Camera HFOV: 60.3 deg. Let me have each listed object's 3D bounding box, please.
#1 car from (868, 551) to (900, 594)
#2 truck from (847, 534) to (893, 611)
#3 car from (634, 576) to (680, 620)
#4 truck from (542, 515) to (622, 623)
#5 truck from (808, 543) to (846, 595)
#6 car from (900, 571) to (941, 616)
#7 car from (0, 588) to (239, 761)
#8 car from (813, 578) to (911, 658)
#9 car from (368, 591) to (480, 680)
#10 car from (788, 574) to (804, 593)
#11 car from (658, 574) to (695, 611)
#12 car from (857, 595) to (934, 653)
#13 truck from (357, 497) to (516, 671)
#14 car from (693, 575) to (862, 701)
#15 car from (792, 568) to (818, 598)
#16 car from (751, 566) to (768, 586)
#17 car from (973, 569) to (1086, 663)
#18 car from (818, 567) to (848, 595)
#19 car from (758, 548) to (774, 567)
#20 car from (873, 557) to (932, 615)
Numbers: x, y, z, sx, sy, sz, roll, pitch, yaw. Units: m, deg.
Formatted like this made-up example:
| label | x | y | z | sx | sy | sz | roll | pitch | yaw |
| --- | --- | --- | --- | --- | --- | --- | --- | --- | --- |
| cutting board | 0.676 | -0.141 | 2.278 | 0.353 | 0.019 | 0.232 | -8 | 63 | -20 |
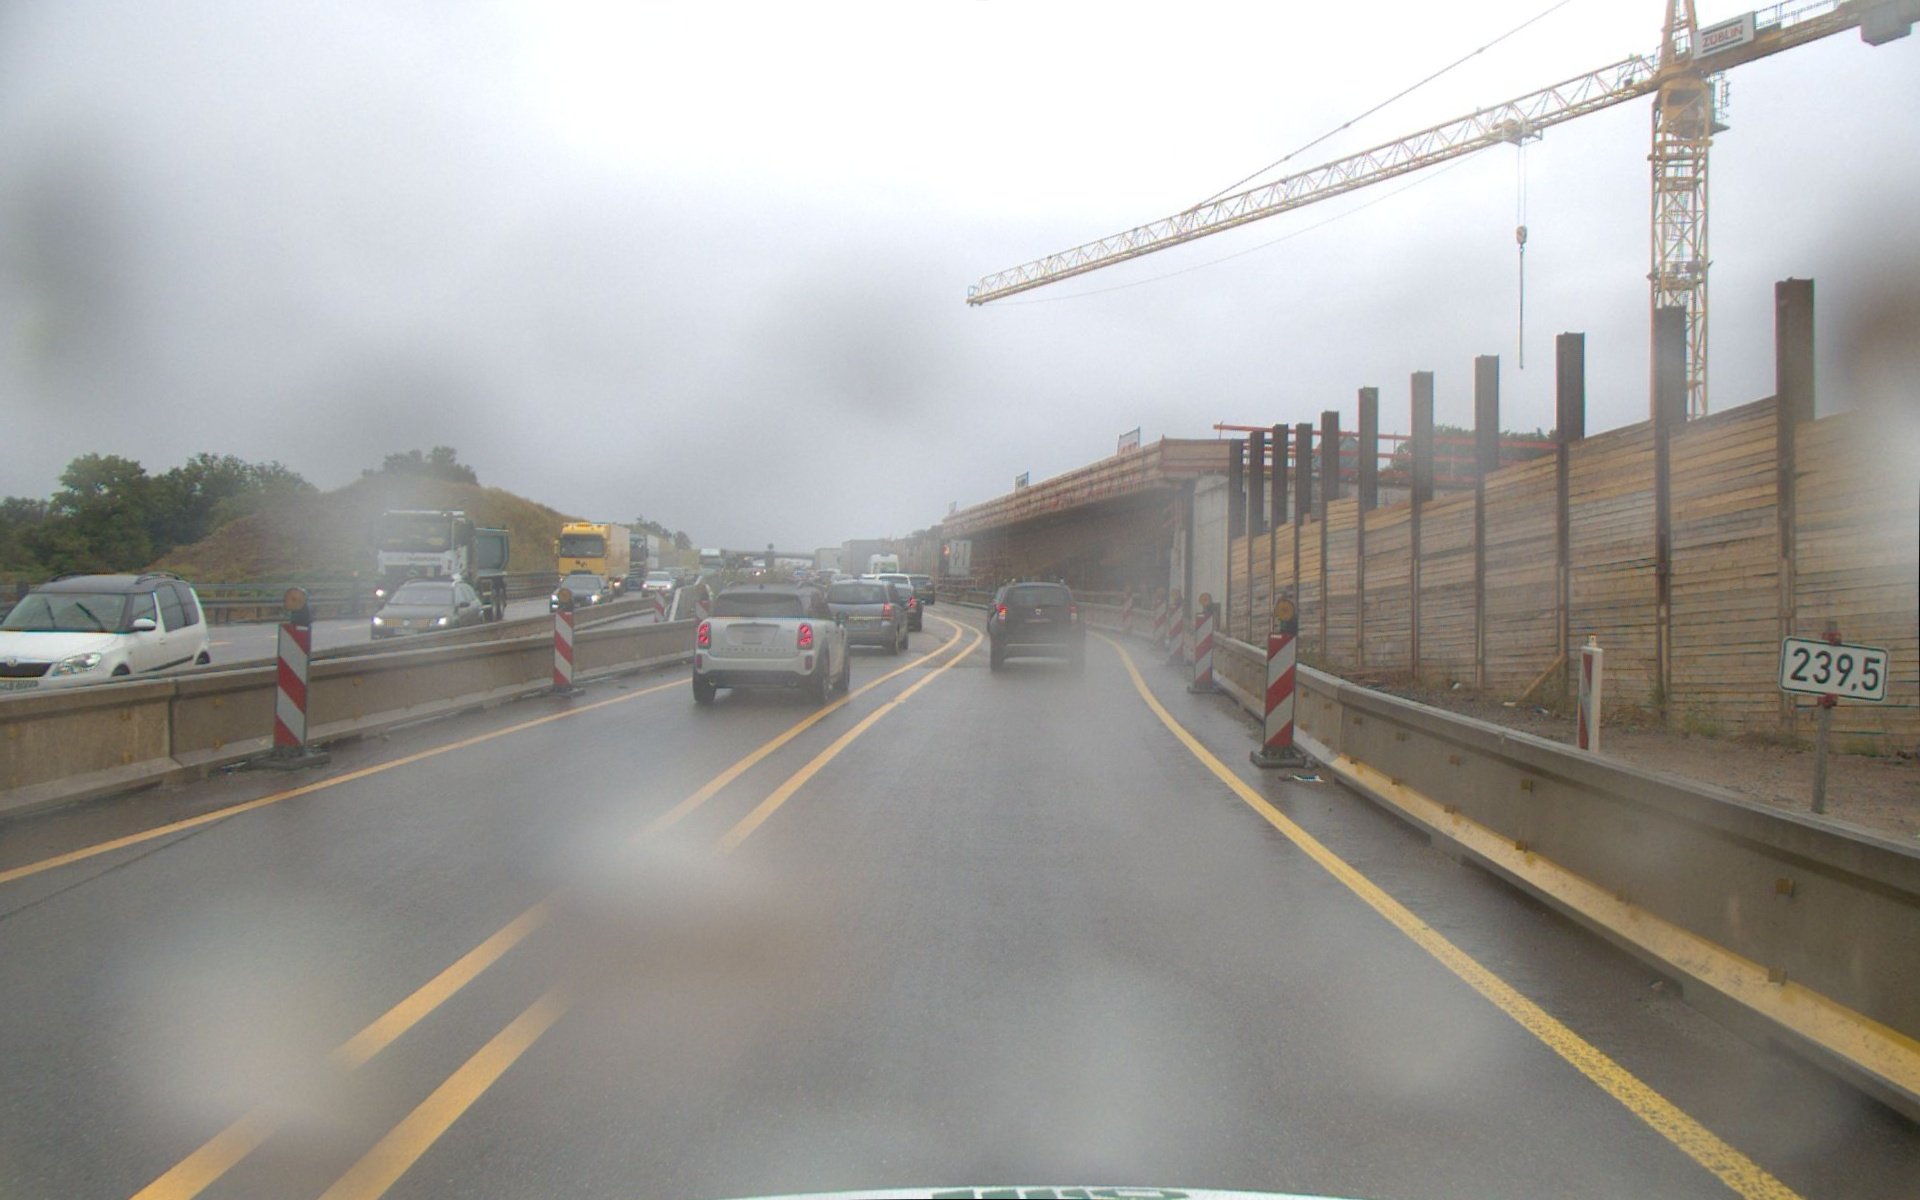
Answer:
| label | x | y | z | sx | sy | sz | roll | pitch | yaw |
| --- | --- | --- | --- | --- | --- | --- | --- | --- | --- |
| car | -5.176 | -1.823 | 112.274 | 1.955 | 2.528 | 4.975 | 0 | -3 | -5 |
| truck | -7.127 | -2.080 | 132.256 | 3.037 | 5.522 | 9.441 | 0 | -3 | 1 |
| car | -17.587 | -0.094 | 96.146 | 2.195 | 2.400 | 4.870 | 1 | -1 | -6 |
| truck | -20.432 | -1.535 | 89.866 | 3.081 | 5.513 | 8.511 | 1 | -1 | -6 |
| truck | -15.702 | -3.563 | 194.667 | 3.732 | 5.132 | 12.896 | 0 | -3 | -7 |
| car | -2.128 | -0.328 | 89.178 | 1.955 | 2.201 | 4.135 | 0 | -3 | -5 |
| car | -10.309 | 0.908 | 19.845 | 1.751 | 1.842 | 4.491 | 0 | -3 | -7 |
| car | -2.148 | 0.465 | 37.338 | 1.953 | 1.629 | 4.139 | 0 | -3 | 0 |
| car | -11.709 | 0.836 | 36.350 | 1.591 | 1.842 | 3.631 | 0 | -3 | -6 |
| car | -19.026 | -1.941 | 191.738 | 1.814 | 1.927 | 4.015 | 0 | -3 | -6 |
| car | -19.516 | -0.493 | 113.957 | 2.174 | 2.412 | 4.657 | 1 | -1 | -6 |
| car | -2.031 | 0.774 | 50.823 | 1.956 | 1.629 | 4.131 | 0 | -3 | -8 |
| truck | -16.340 | -0.378 | 52.347 | 3.023 | 5.006 | 8.552 | 1 | -1 | -6 |
| car | -2.486 | 0.583 | 23.532 | 1.778 | 1.629 | 4.308 | 0 | -3 | 2 |
| car | -13.000 | -1.407 | 139.000 | 1.953 | 2.201 | 4.138 | 0 | -3 | -2 |
| car | -23.548 | -2.845 | 194.499 | 1.956 | 2.049 | 3.992 | 0 | -3 | -7 |
| car | 1.326 | 0.363 | 32.040 | 2.038 | 1.629 | 4.140 | 0 | -3 | 2 |
| car | -9.383 | -1.401 | 122.148 | 1.956 | 1.792 | 3.806 | 0 | -3 | -9 |
| car | -24.532 | -5.390 | 208.606 | 1.956 | 2.049 | 3.992 | 0 | -3 | -7 |
| car | -2.290 | -0.522 | 65.276 | 1.956 | 2.049 | 3.886 | 0 | -3 | -8 |
